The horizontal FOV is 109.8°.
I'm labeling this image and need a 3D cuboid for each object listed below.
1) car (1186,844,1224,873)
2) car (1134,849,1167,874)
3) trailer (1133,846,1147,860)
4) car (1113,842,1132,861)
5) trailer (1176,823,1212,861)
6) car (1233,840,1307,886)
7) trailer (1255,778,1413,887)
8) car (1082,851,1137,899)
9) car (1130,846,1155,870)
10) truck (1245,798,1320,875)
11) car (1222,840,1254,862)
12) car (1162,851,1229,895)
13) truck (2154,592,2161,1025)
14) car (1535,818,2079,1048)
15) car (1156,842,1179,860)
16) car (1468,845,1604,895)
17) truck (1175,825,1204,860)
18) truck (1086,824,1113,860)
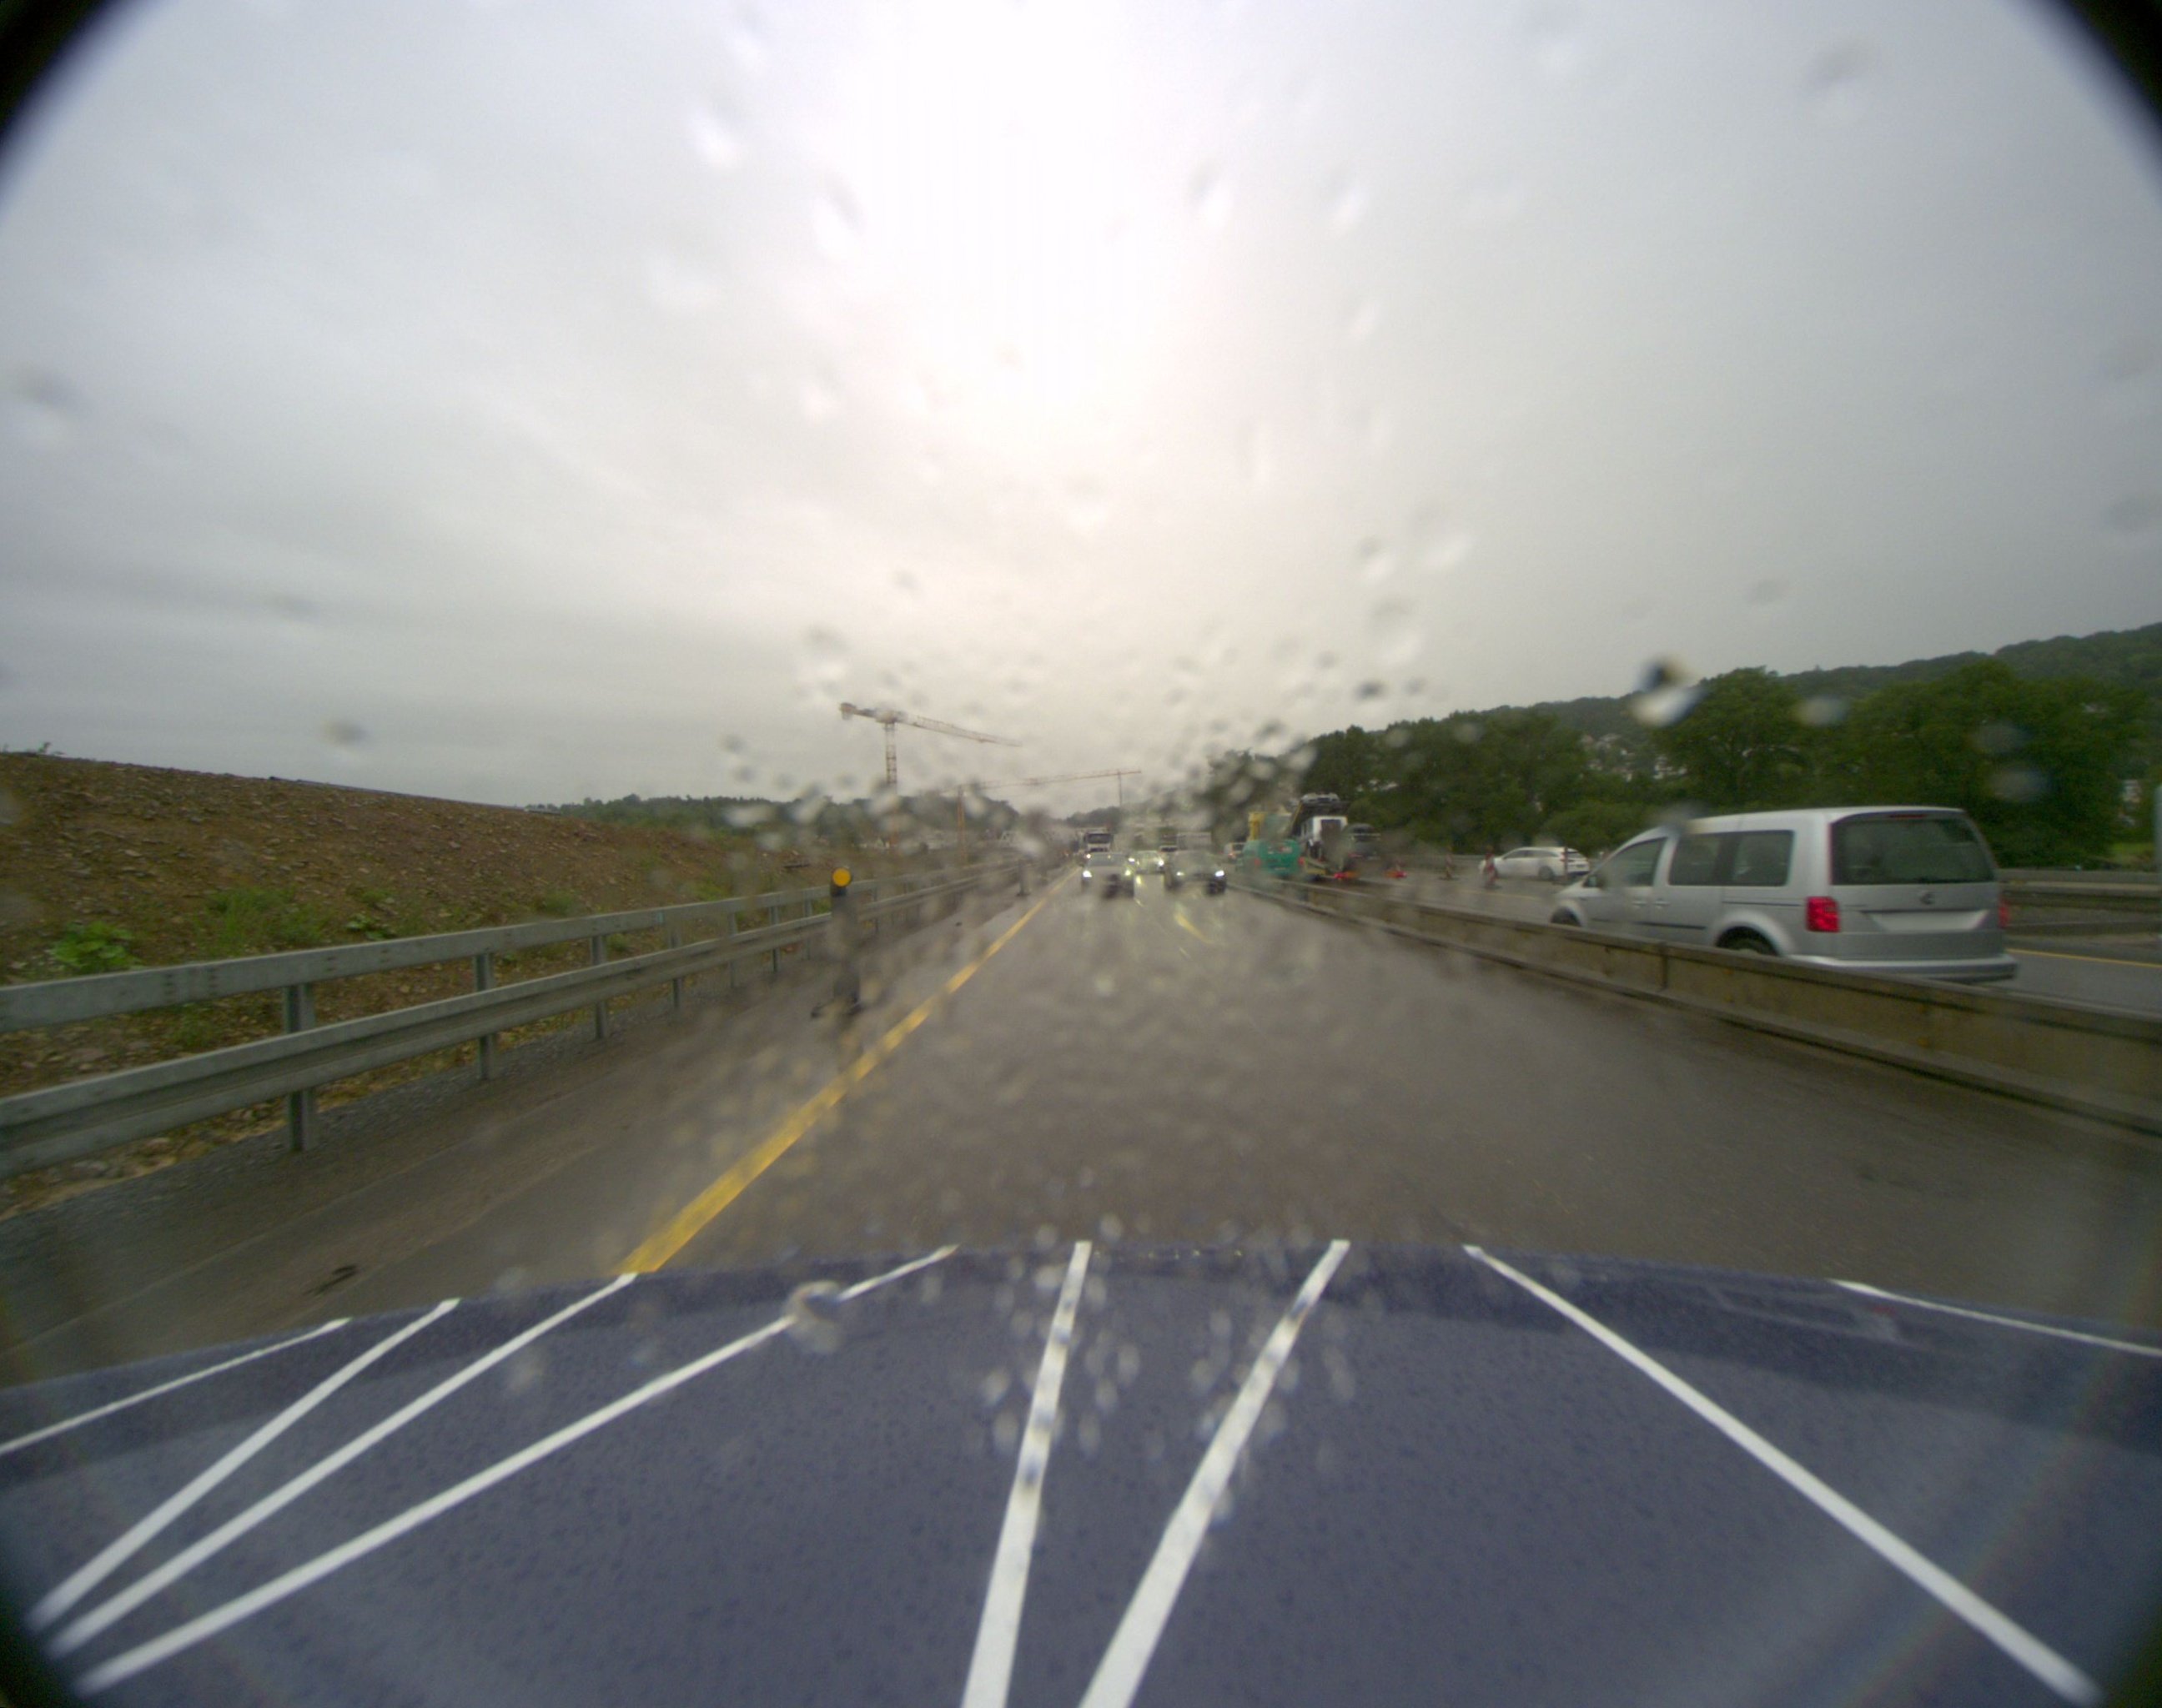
[{"bbox_3d":[8.106,0.237,50.113,1.791,1.795,5.189,0,1,1],"label":"car"},{"bbox_3d":[4.382,0.447,48.437,1.781,1.430,4.483,-1,1,2],"label":"car"},{"bbox_3d":[16.271,-0.234,211.596,3.285,3.885,13.701,-1,0,2],"label":"trailer"},{"bbox_3d":[4.962,-0.253,90.922,1.998,2.001,4.188,-2,-2,1],"label":"car"},{"bbox_3d":[12.375,-1.306,83.865,2.692,3.940,9.819,0,1,1],"label":"trailer"},{"bbox_3d":[7.829,0.337,31.951,1.998,1.749,4.688,-1,0,1],"label":"car"},{"bbox_3d":[11.245,-0.900,36.168,2.756,4.019,15.358,-1,1,2],"label":"trailer"},{"bbox_3d":[1.009,0.672,26.872,1.781,1.514,4.140,-1,1,2],"label":"car"},{"bbox_3d":[5.236,0.334,64.040,1.998,2.002,4.002,-1,0,6],"label":"car"},{"bbox_3d":[11.469,-0.976,43.813,2.756,4.039,6.147,-1,1,2],"label":"truck"},{"bbox_3d":[15.564,-0.327,75.782,2.270,2.002,5.046,-1,1,2],"label":"car"},{"bbox_3d":[4.137,0.634,28.095,1.951,1.430,4.483,-1,1,2],"label":"car"},{"bbox_3d":[10.409,-0.386,3.165,2.627,3.656,6.594,-1,1,1],"label":"truck"},{"bbox_3d":[7.015,0.615,8.119,1.870,1.789,4.162,-1,0,1],"label":"car"},{"bbox_3d":[8.882,-0.338,78.735,1.879,1.782,5.359,-1,1,1],"label":"car"},{"bbox_3d":[20.408,0.665,34.307,2.074,2.050,4.832,-2,1,-29],"label":"car"},{"bbox_3d":[12.492,-1.351,88.056,2.692,3.904,5.273,0,1,1],"label":"truck"},{"bbox_3d":[1.926,-1.220,76.973,2.575,3.451,6.627,-1,1,2],"label":"truck"}]
